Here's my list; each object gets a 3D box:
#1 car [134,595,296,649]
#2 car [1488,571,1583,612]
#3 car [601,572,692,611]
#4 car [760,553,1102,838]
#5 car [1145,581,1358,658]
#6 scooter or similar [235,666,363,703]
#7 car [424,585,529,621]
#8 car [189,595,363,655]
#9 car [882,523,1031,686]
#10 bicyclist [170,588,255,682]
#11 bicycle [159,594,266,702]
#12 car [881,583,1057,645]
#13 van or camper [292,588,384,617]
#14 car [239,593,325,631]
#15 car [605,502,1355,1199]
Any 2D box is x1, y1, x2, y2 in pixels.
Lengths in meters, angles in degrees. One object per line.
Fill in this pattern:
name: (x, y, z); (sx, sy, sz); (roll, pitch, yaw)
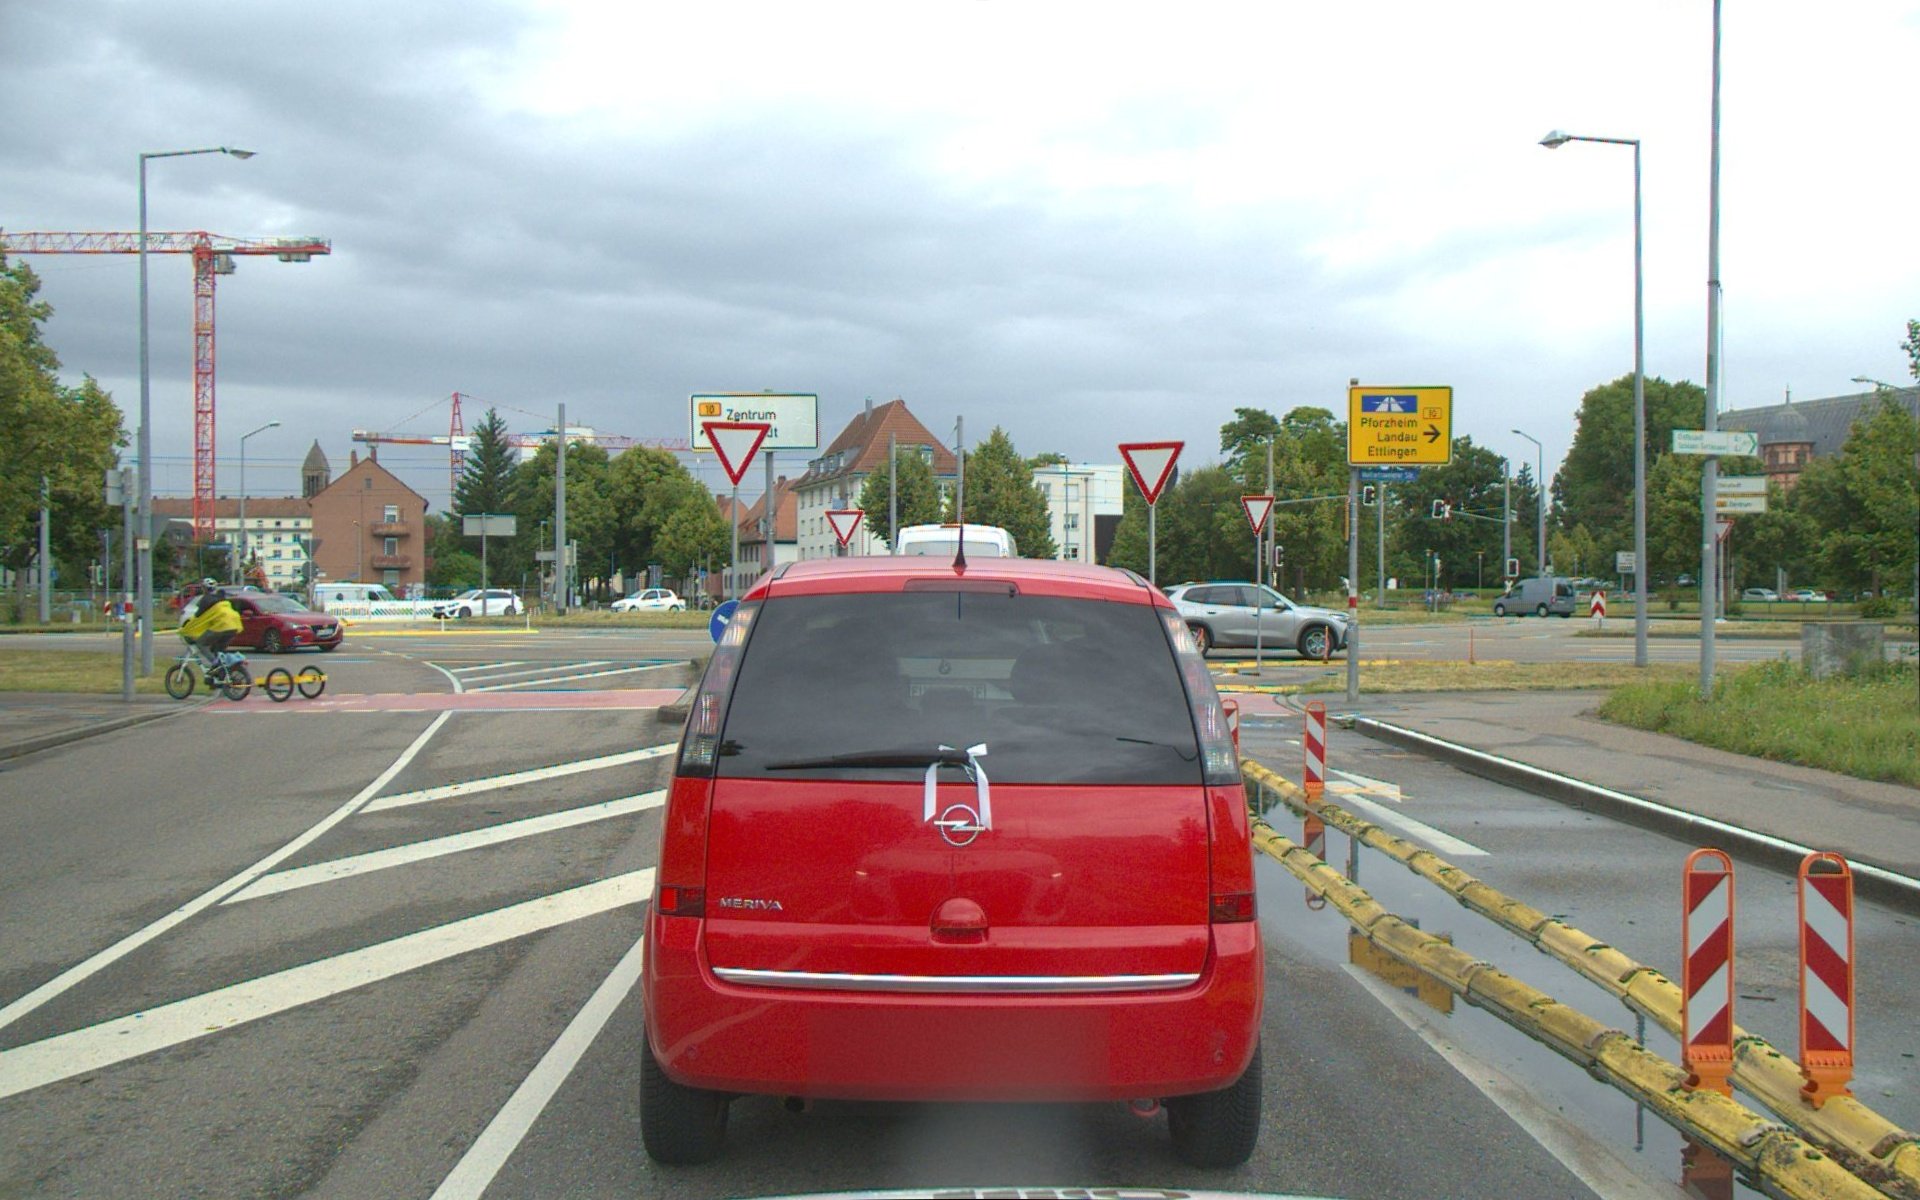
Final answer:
car: (-22.095, 0.654, 49.127); (3.902, 1.534, 2.002); (0, 0, 7)
car: (29.390, -0.443, 84.572); (1.972, 2.049, 4.435); (-1, 0, -29)
car: (-16.748, -0.474, 88.512); (4.439, 2.049, 1.971); (-1, 0, -41)
car: (-0.206, 0.557, 12.170); (2.018, 1.676, 4.606); (1, 0, -1)
car: (6.320, 0.409, 36.242); (4.422, 1.611, 2.001); (-1, 0, 4)
scooter or similar: (-10.087, 1.284, 25.262); (1.573, 0.513, 0.925); (0, 0, 13)
car: (-23.428, 0.135, 80.256); (1.961, 1.663, 4.654); (0, 0, 38)
car: (-17.779, 0.629, 42.969); (4.261, 1.489, 1.997); (0, 0, 29)
car: (0.049, 0.054, 28.952); (2.149, 2.584, 4.965); (1, 0, 5)
bicyclist: (-11.601, 0.539, 25.668); (1.039, 1.426, 0.615); (0, 0, 16)
bicycle: (-11.603, 0.735, 25.678); (1.446, 1.640, 0.606); (0, 0, 15)
car: (0.270, 0.332, 41.641); (4.216, 1.489, 2.002); (-1, 0, 7)
van or camper: (-44.962, 0.188, 119.601); (6.045, 2.049, 2.002); (0, 0, 10)
car: (-27.802, 0.472, 67.981); (1.891, 1.515, 4.000); (-1, 0, -1)
car: (0.020, 0.619, 5.473); (1.639, 1.669, 3.626); (1, 0, -1)
